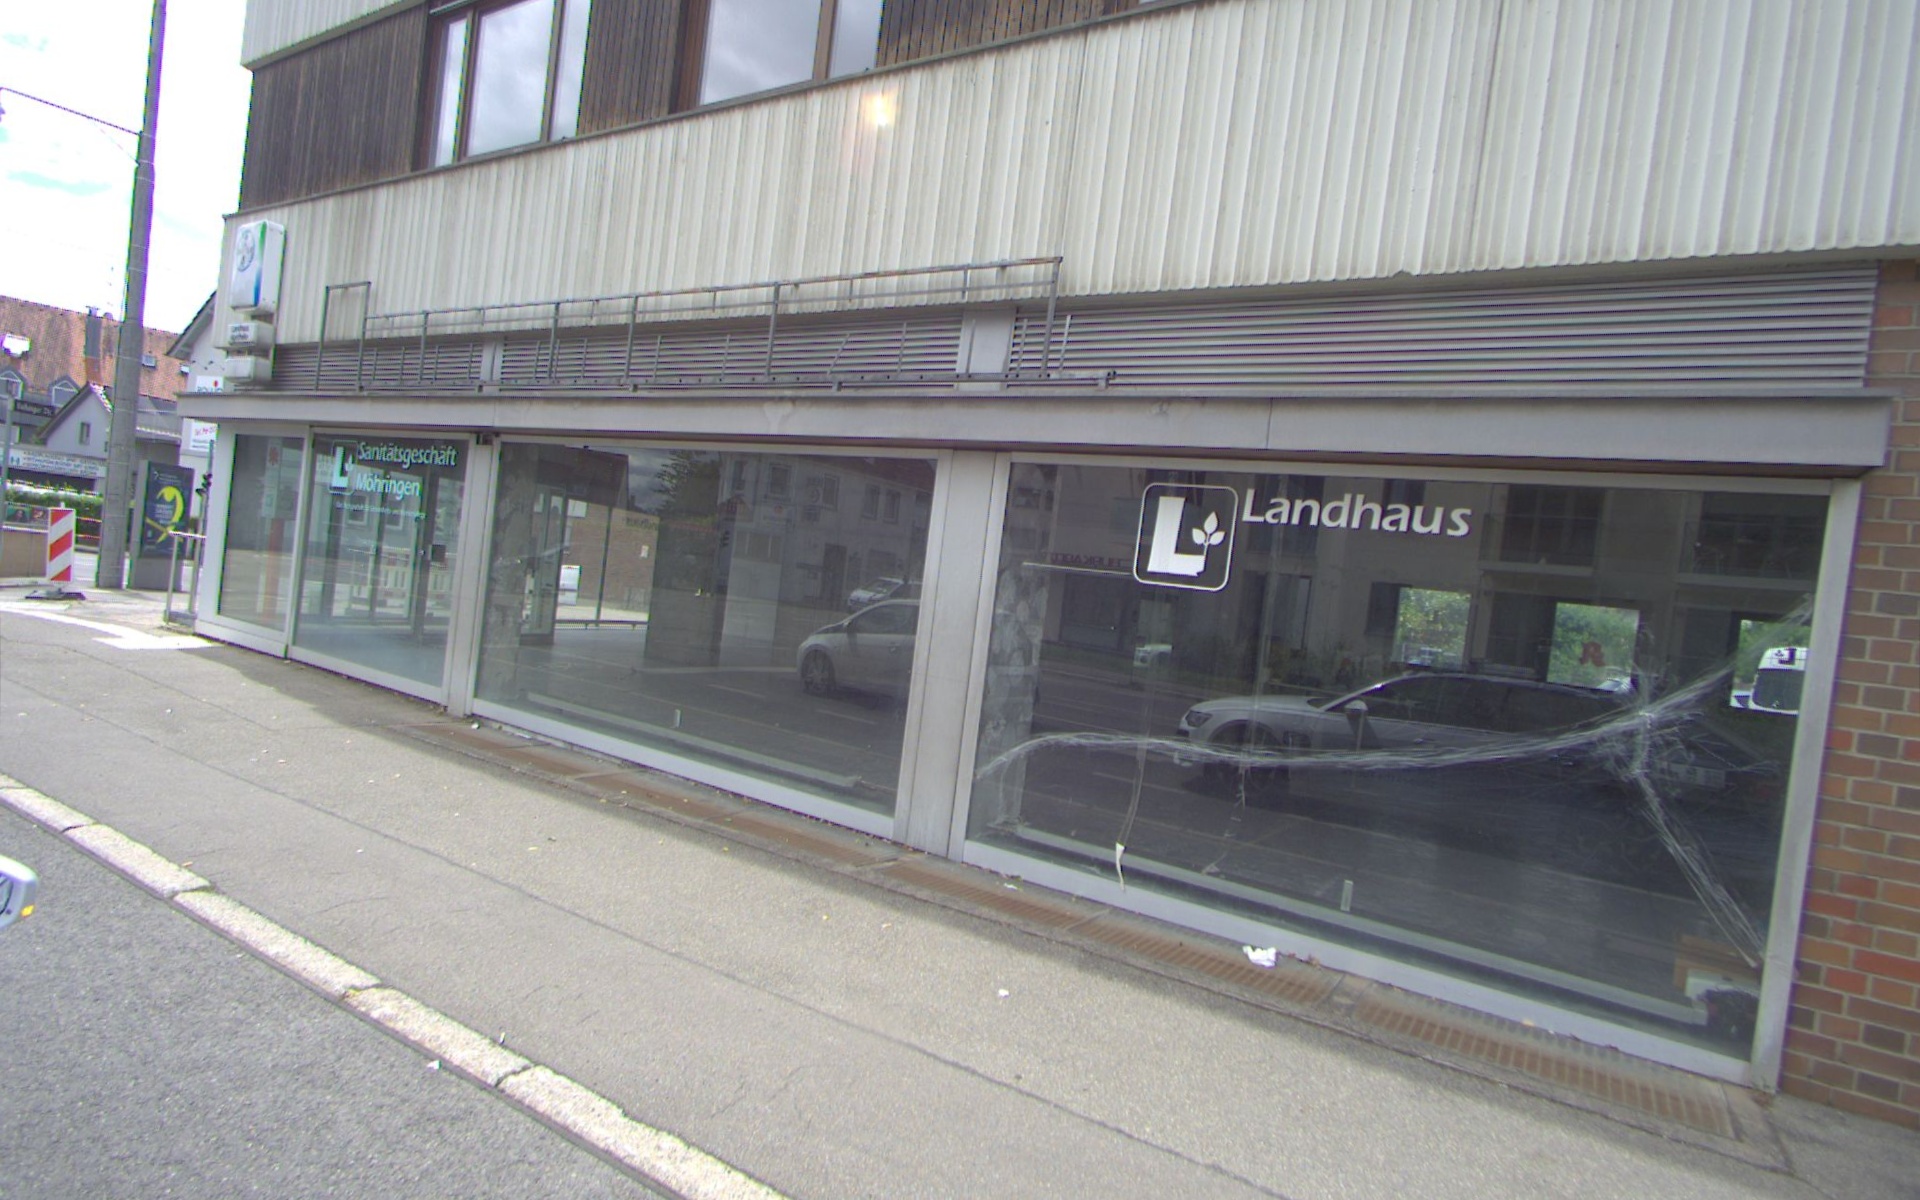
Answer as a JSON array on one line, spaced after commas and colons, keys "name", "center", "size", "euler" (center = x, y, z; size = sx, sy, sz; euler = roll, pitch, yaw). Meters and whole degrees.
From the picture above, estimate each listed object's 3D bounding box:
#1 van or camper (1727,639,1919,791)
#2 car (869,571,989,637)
[{"name": "van or camper", "center": [18.989, 2.419, 20.047], "size": [5.409, 2.574, 2.058], "euler": [7, 1, 4]}, {"name": "car", "center": [-1.224, 0.187, 41.705], "size": [4.691, 2.037, 1.976], "euler": [9, -2, -44]}]
